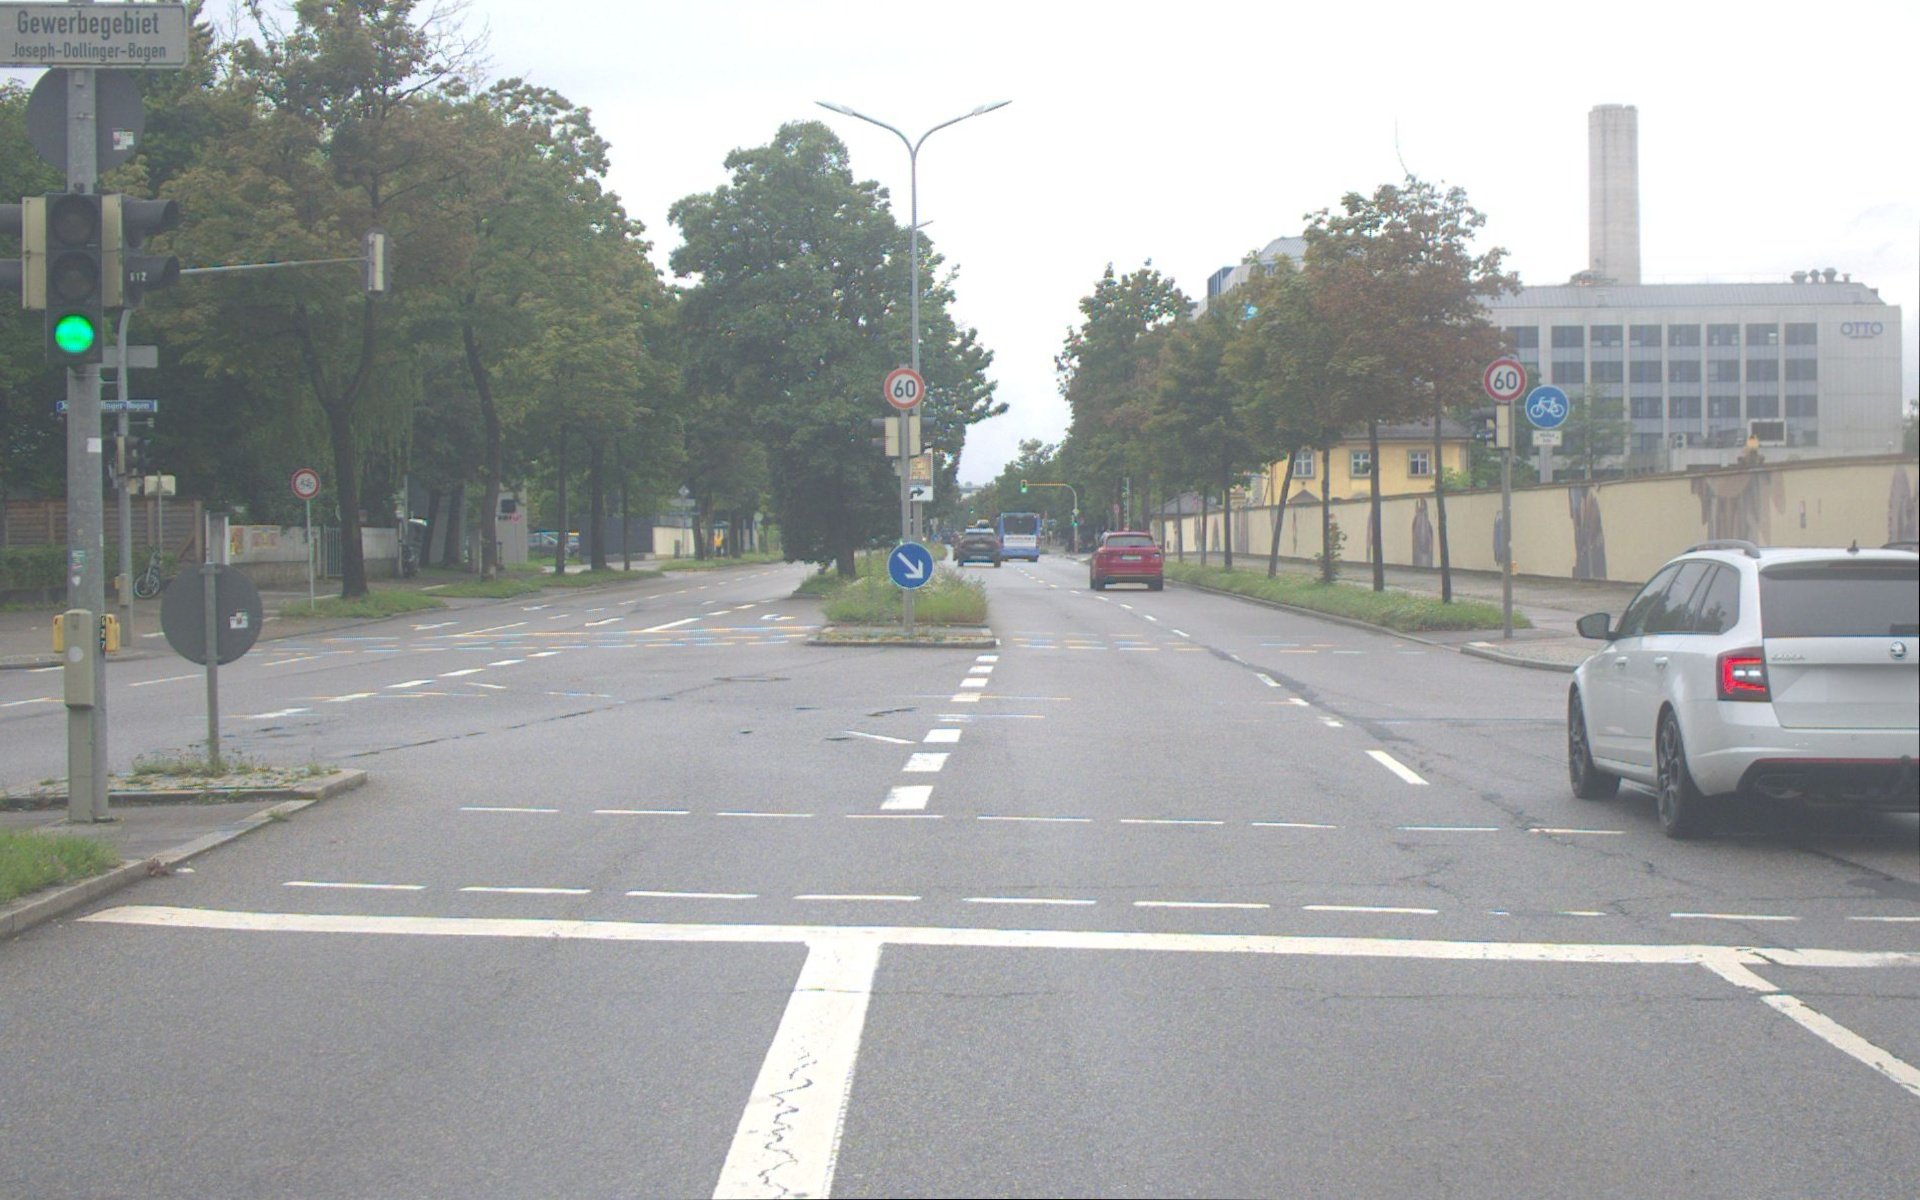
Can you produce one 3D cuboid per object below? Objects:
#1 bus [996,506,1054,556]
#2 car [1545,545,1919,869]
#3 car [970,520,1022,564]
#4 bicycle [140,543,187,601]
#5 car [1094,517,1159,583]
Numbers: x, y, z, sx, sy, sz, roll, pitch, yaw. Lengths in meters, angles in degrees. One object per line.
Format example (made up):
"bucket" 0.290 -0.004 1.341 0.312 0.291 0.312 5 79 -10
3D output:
"bus" 4.146 -4.450 221.407 3.220 3.116 10.346 1 1 -1
"car" 4.372 0.460 18.036 1.878 1.463 4.502 1 1 1
"car" 1.564 -2.546 150.898 2.084 1.859 4.386 1 1 -1
"bicycle" -18.098 -0.647 78.169 0.582 1.291 2.455 1 1 -2
"car" 4.440 -1.340 92.013 1.484 1.710 3.551 1 1 -1
